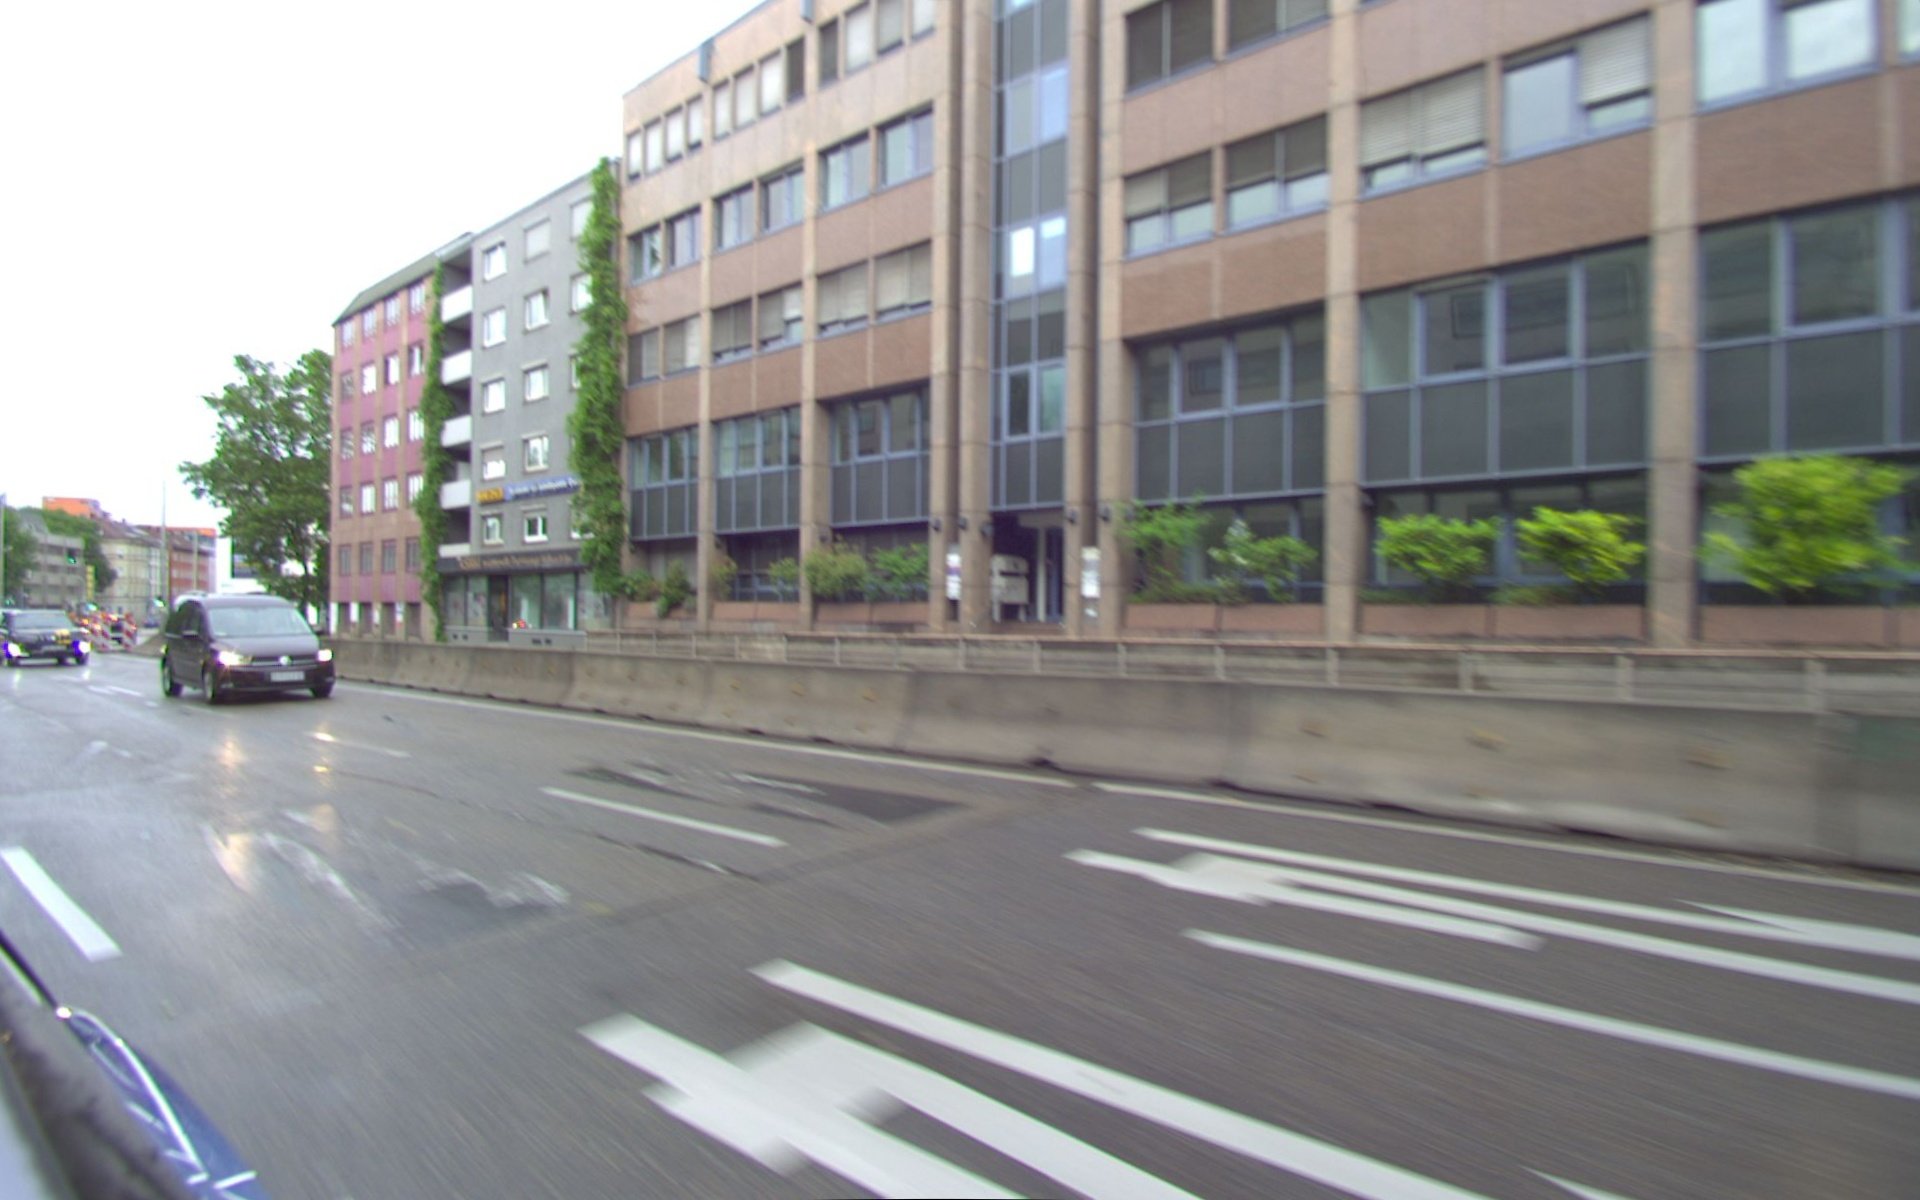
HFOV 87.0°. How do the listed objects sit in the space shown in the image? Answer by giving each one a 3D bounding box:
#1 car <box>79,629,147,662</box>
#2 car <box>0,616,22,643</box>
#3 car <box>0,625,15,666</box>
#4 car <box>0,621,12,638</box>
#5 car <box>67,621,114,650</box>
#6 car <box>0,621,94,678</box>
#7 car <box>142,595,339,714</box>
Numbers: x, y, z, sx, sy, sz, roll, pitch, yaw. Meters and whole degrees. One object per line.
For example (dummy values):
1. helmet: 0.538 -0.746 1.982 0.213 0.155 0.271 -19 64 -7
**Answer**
1. car: -42.196 2.213 50.388 4.227 1.545 1.841 -1 -2 40
2. car: -75.628 2.307 79.569 5.282 2.005 1.974 -1 -2 38
3. car: -39.122 1.774 40.285 3.999 1.588 1.823 -1 -2 42
4. car: -90.464 2.772 95.125 2.946 1.496 1.540 -2 -3 39
5. car: -56.728 2.281 66.016 4.423 1.784 1.703 -1 -2 41
6. car: -27.311 1.417 29.881 3.995 1.552 1.907 -2 -1 38
7. car: -12.477 0.870 17.465 4.121 1.813 1.773 -1 -1 39
